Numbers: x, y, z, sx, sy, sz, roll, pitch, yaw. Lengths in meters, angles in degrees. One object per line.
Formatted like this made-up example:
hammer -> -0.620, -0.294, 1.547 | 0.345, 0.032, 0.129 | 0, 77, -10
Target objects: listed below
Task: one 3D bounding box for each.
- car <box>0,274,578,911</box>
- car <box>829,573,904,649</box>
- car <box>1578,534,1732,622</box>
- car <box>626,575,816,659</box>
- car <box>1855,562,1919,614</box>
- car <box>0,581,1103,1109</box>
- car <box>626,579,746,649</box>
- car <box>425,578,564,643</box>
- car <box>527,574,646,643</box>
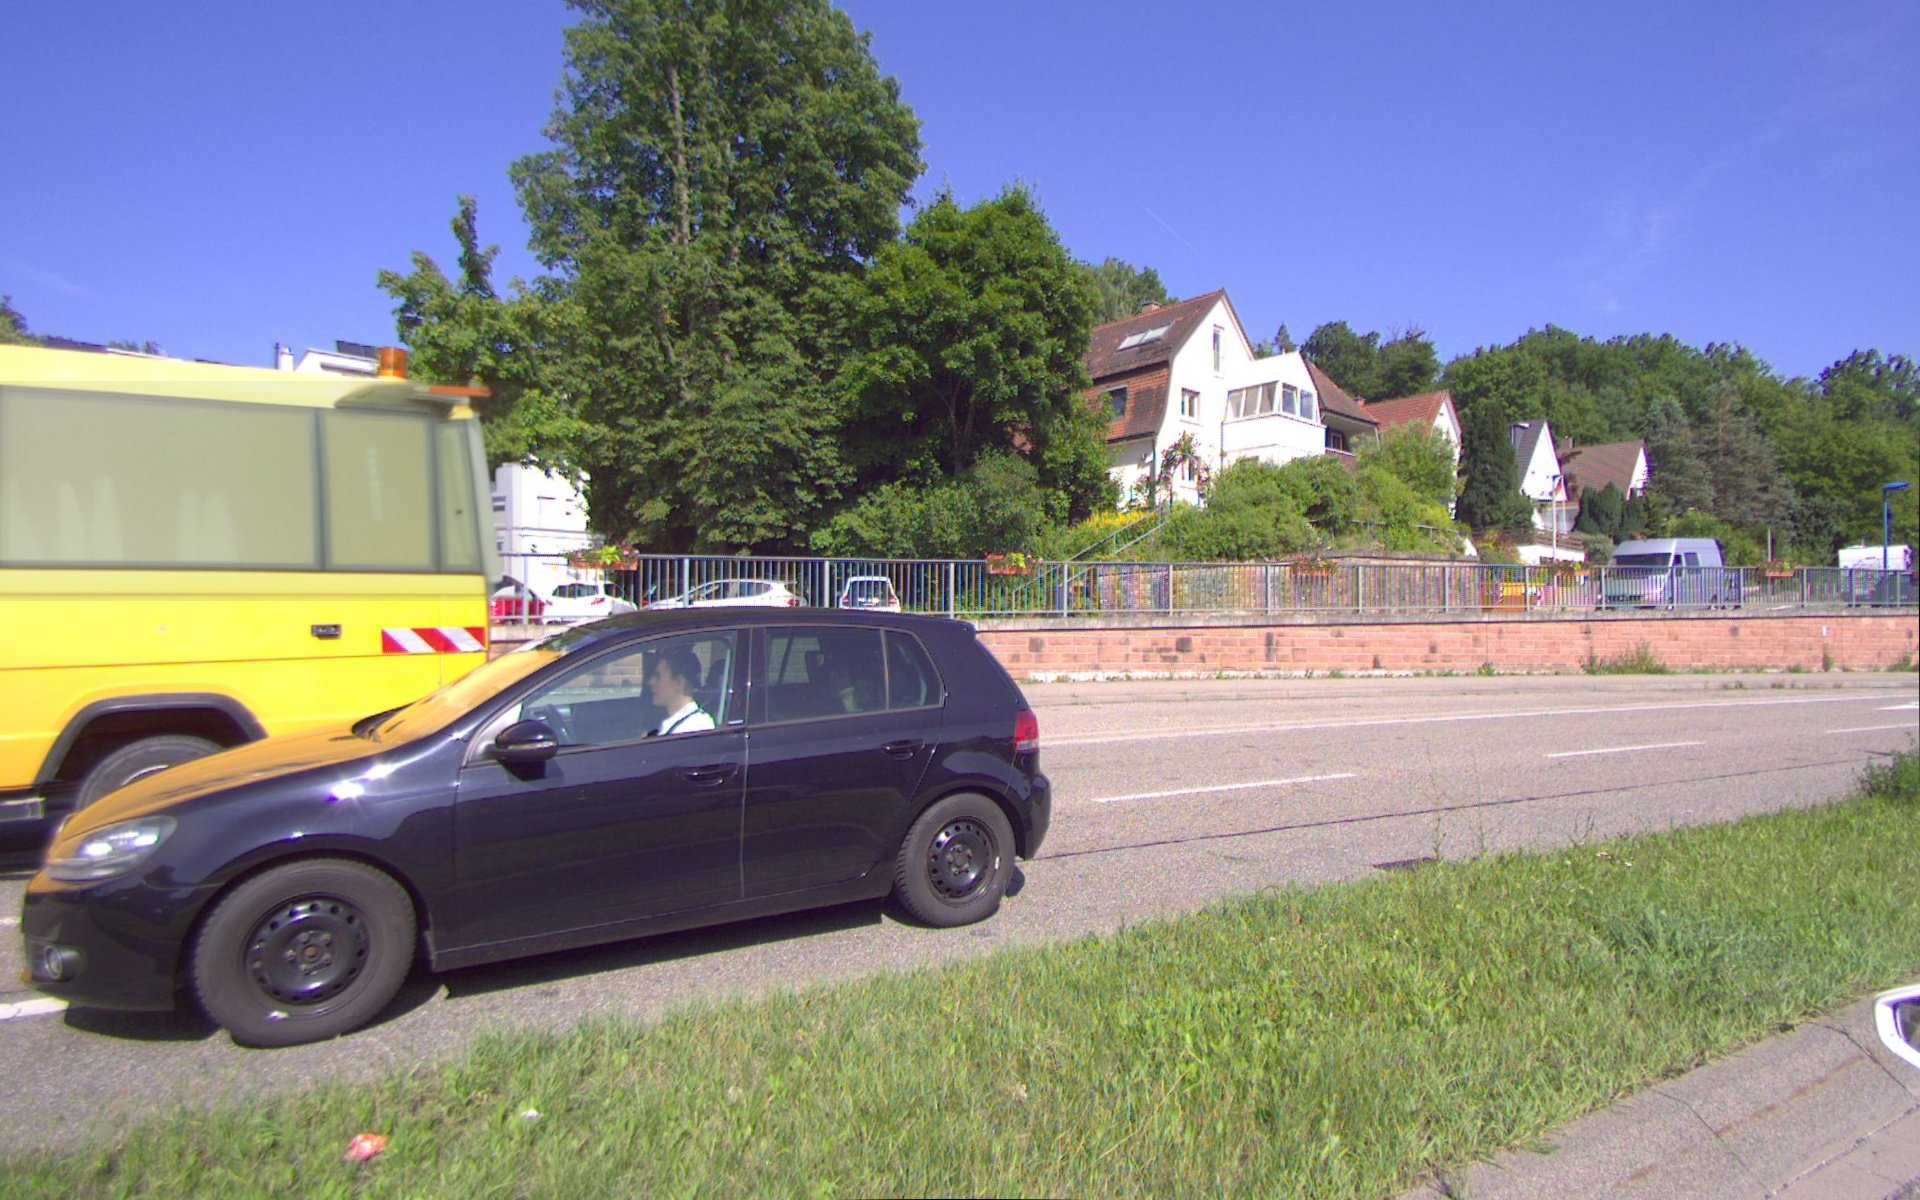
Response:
car -> -5.728, -0.067, 5.552 | 6.394, 3.051, 2.454 | 1, 1, -32
car -> -2.598, 0.223, 27.324 | 1.878, 1.901, 3.994 | 1, 2, -7
car -> 21.357, -0.661, 30.781 | 5.728, 2.477, 2.078 | 0, 2, -36
car -> -5.471, 0.382, 23.355 | 3.921, 1.813, 1.922 | 1, 0, 0
car -> 37.384, -0.488, 39.639 | 4.683, 1.946, 2.007 | 0, 2, -35
car -> -1.445, 0.729, 4.624 | 3.998, 1.482, 1.736 | 1, -1, -32
car -> -7.181, 0.306, 26.740 | 1.960, 1.694, 4.000 | 1, 2, 2
car -> -12.423, 0.225, 27.103 | 1.876, 1.581, 3.999 | 1, 2, 0
car -> -10.020, 0.158, 27.269 | 1.877, 1.724, 3.997 | 0, 2, -3
